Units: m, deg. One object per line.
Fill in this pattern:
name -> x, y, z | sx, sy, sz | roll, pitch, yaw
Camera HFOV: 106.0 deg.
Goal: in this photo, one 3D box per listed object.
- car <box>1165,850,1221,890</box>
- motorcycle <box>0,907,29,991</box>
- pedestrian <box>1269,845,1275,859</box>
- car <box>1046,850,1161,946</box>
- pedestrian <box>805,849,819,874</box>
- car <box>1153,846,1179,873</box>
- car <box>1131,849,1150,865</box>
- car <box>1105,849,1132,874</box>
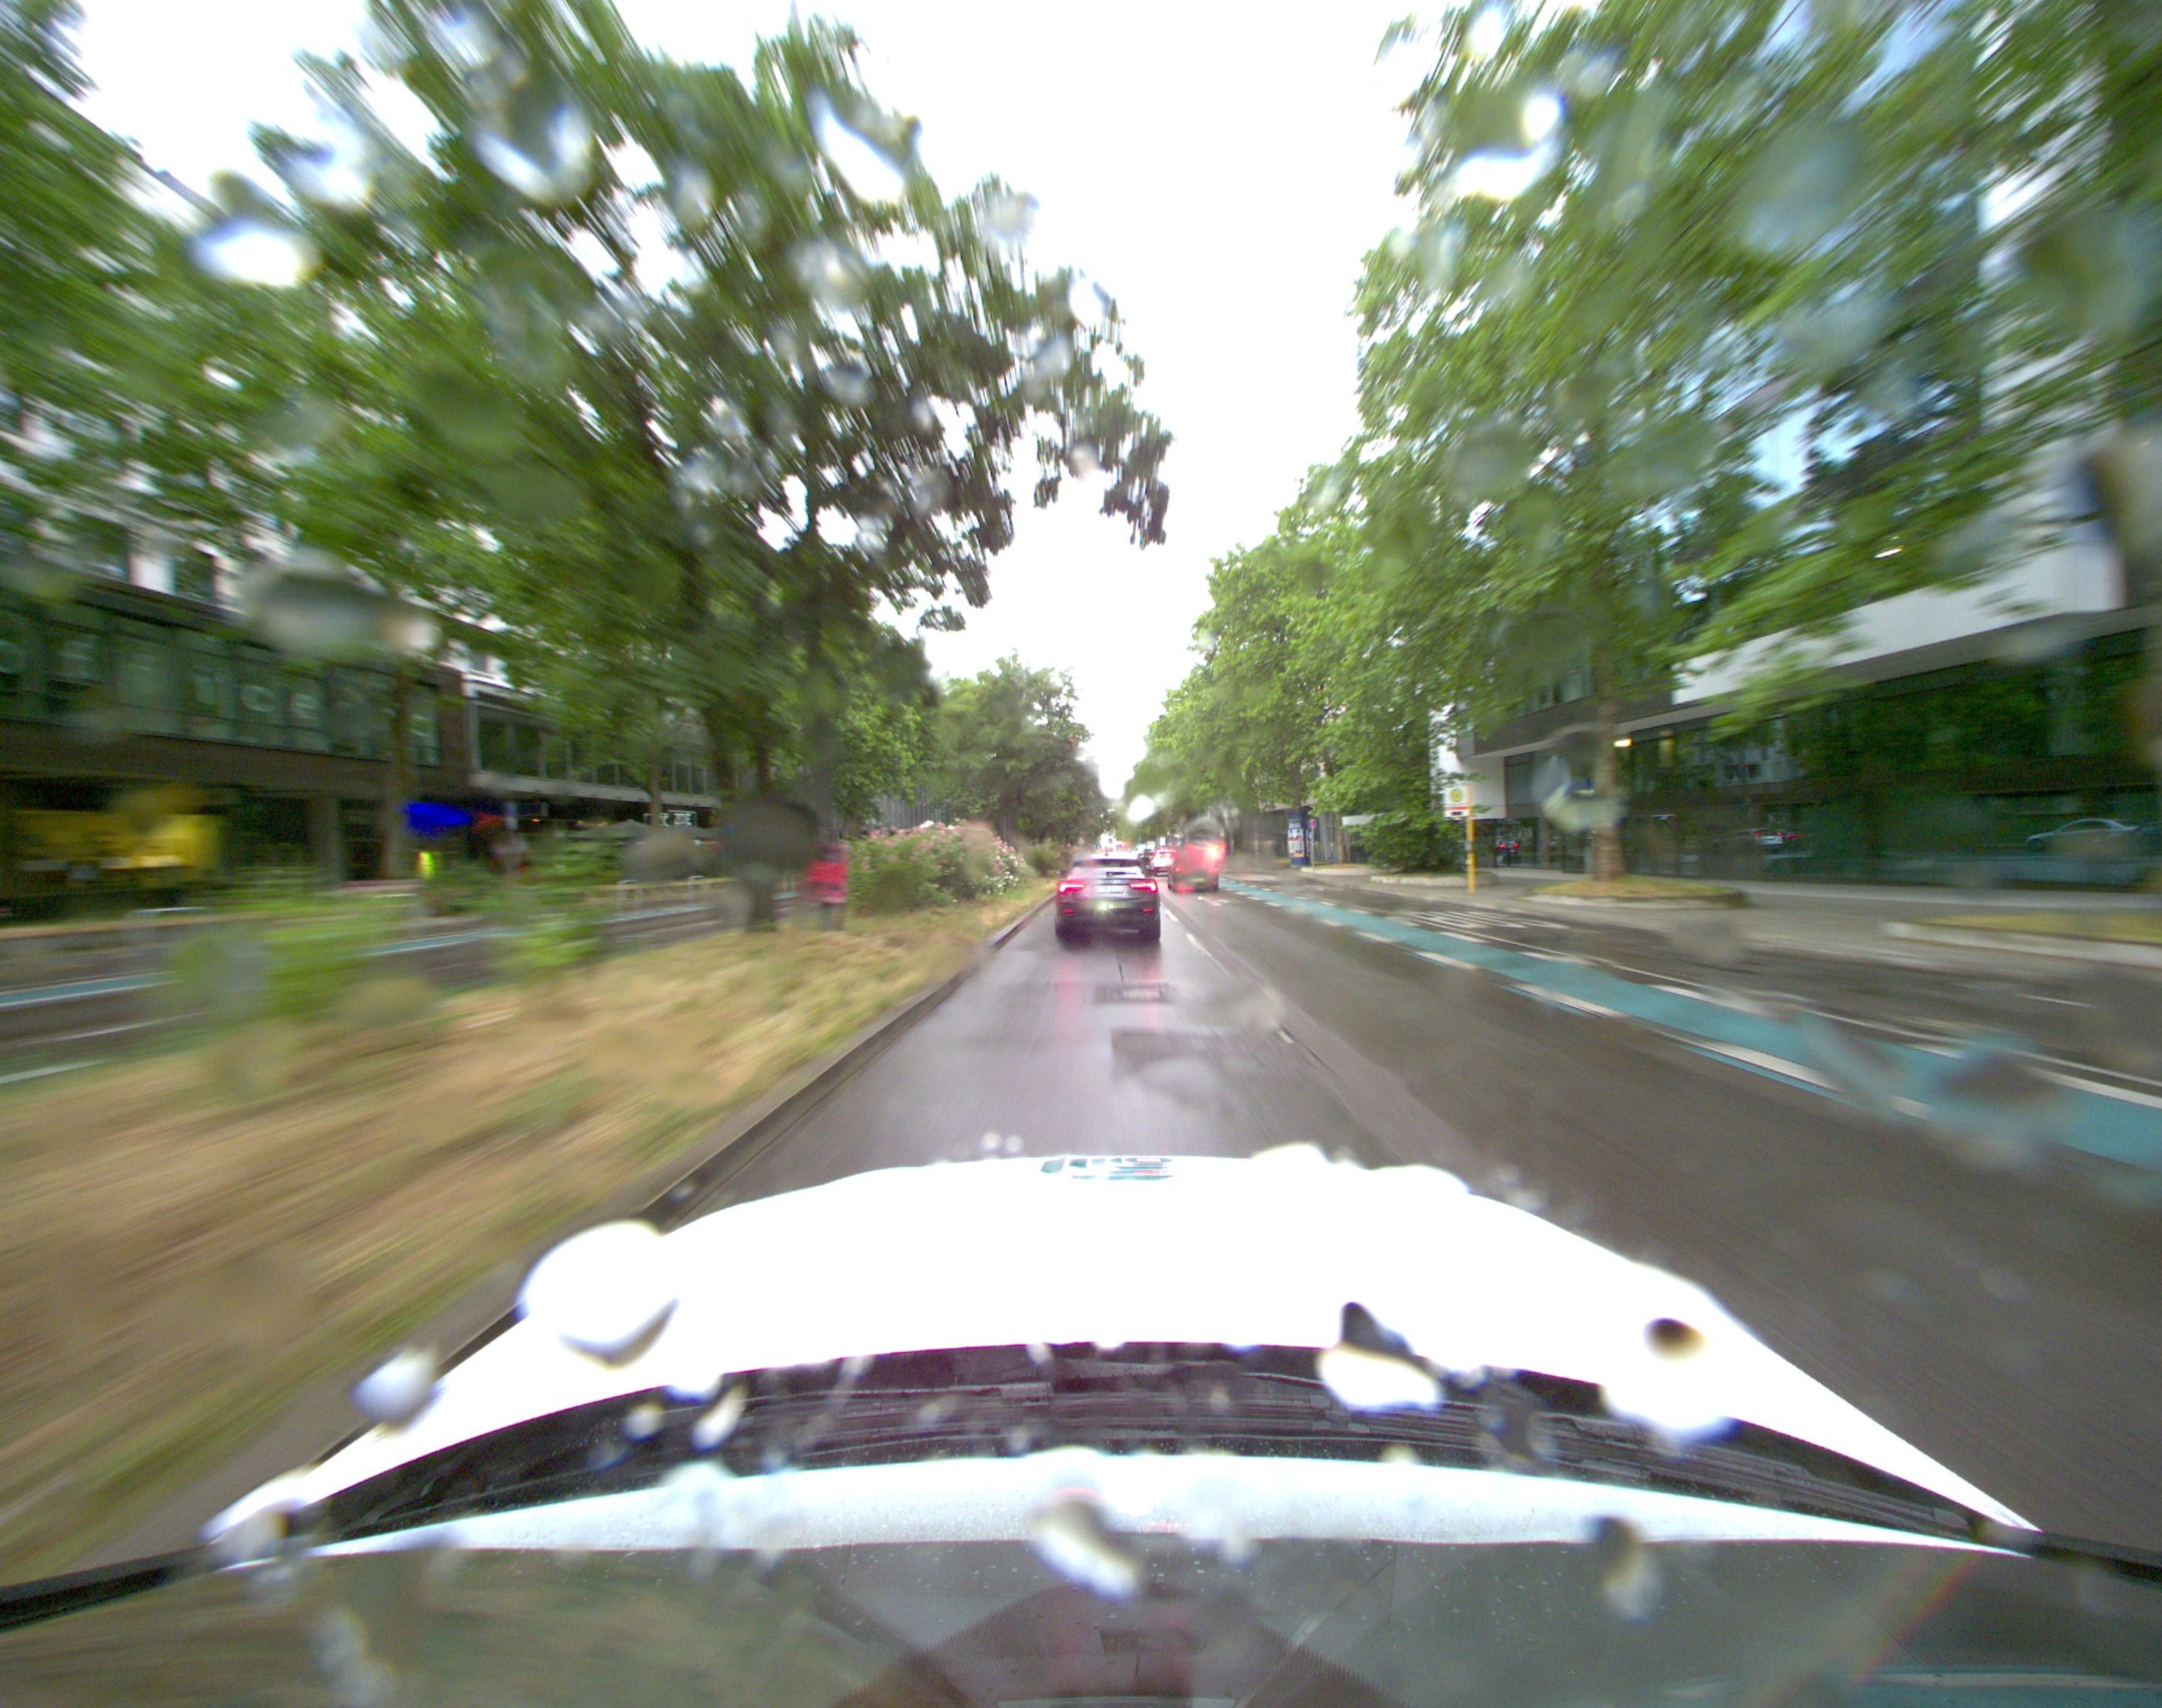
car -> 4.375, 0.588, 32.243 | 1.758, 1.412, 4.002 | -2, 0, 2
motorcycle -> -15.127, 1.272, 10.547 | 1.784, 1.084, 0.491 | -1, 0, -28
pedestrian -> 24.541, -0.284, 104.639 | 0.648, 1.815, 0.656 | -1, 0, 1
car -> 0.513, 0.712, 15.630 | 1.855, 1.532, 4.531 | -1, 0, 3
pedestrian -> -21.528, 0.597, 65.271 | 0.877, 2.013, 0.636 | -1, 0, 1
car -> 5.384, 0.327, 51.925 | 1.427, 1.685, 2.981 | -2, 0, 2
car -> 6.817, 0.358, 93.947 | 1.986, 1.750, 4.003 | -2, 0, 2
car -> 2.494, 0.493, 54.583 | 1.715, 1.577, 3.964 | -1, 0, 2
